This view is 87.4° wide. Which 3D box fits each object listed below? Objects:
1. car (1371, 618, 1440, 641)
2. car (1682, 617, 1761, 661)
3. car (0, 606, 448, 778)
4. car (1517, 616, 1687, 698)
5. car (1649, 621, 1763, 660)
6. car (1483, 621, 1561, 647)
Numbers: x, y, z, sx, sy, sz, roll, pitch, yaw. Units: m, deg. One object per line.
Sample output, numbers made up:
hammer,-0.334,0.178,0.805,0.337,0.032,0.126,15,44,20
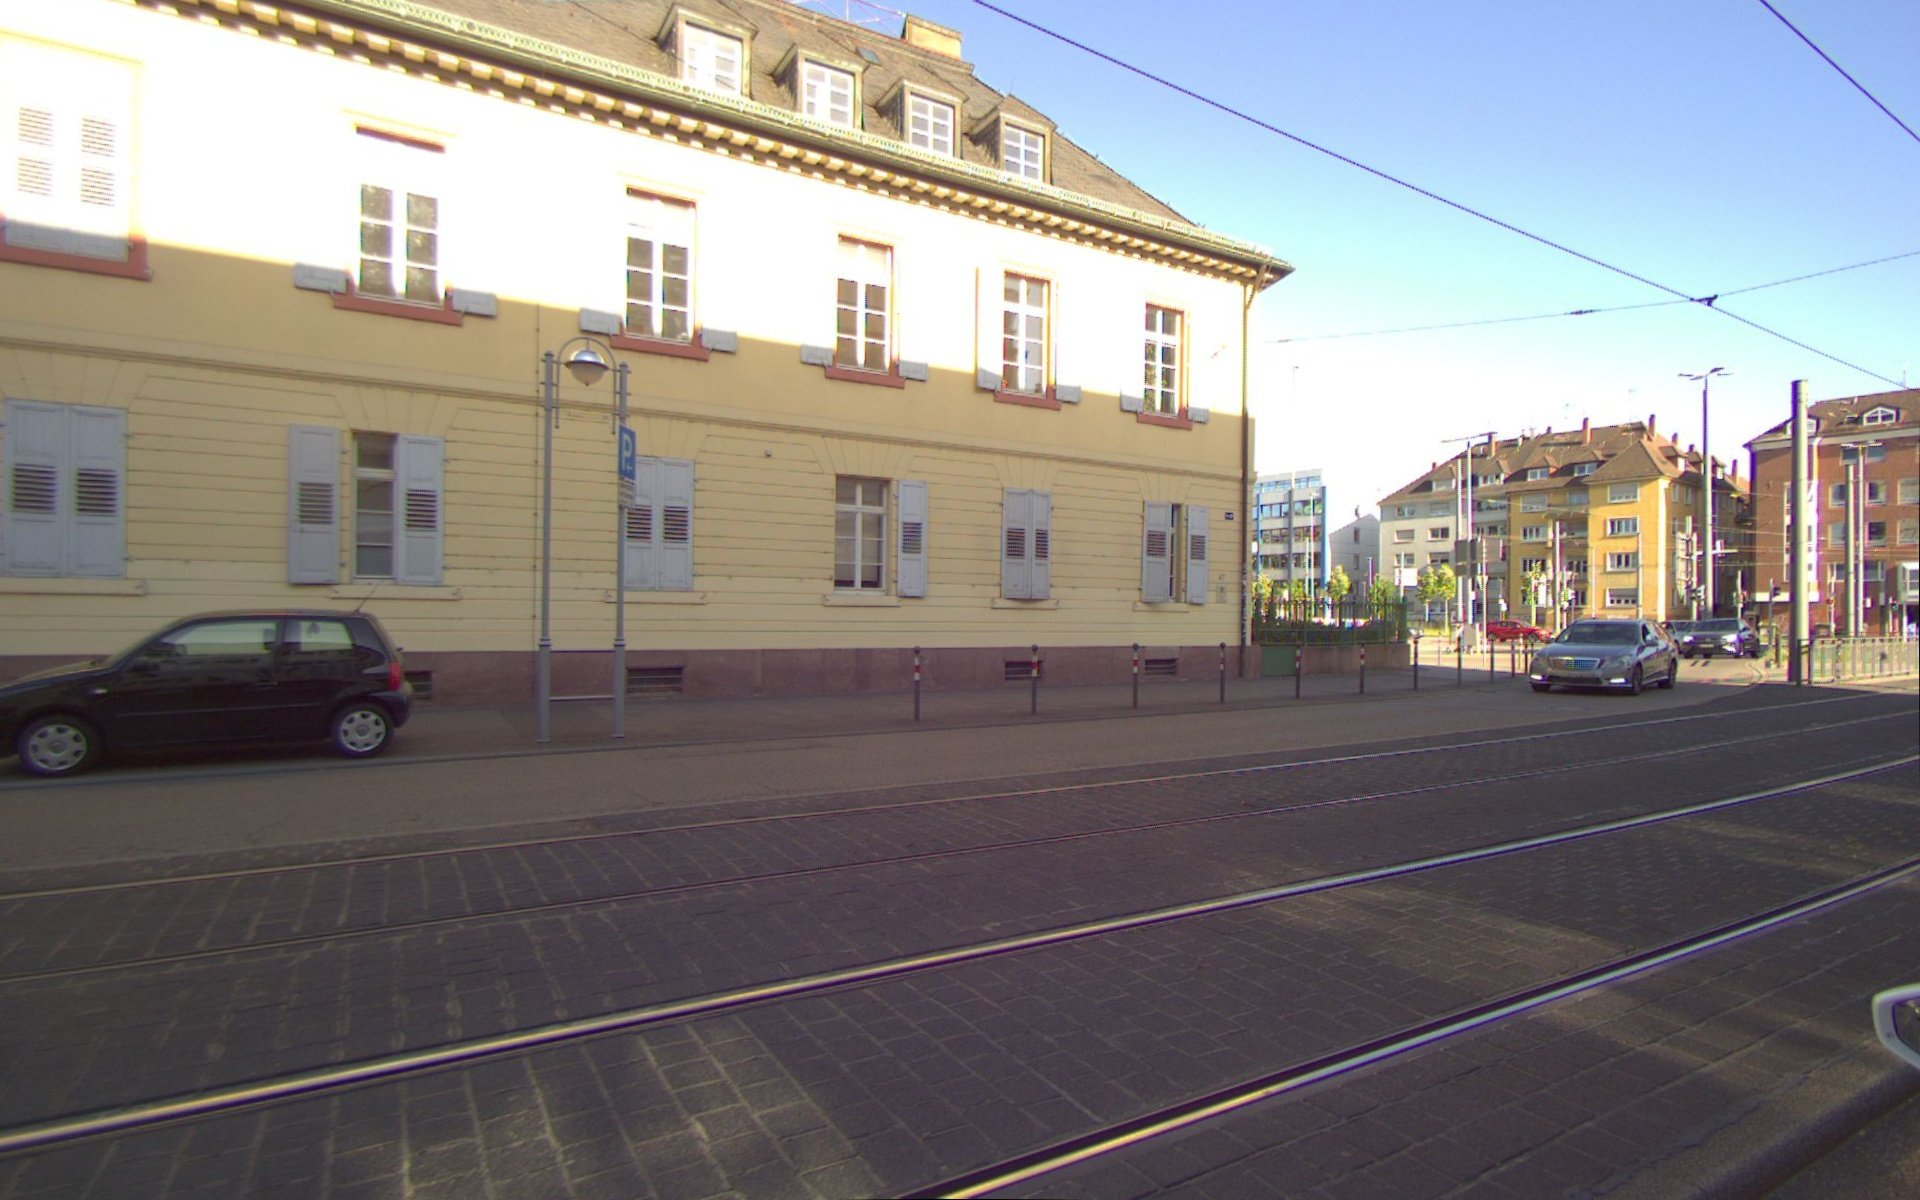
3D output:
car,32.411,2.137,73.143,1.922,1.510,4.112,1,1,-39
car,28.570,1.436,37.640,4.251,1.532,1.747,1,-1,-44
car,-7.298,0.834,10.141,3.678,1.419,1.606,1,1,-31
car,13.461,1.116,20.928,4.895,1.515,1.862,2,-2,-43
car,36.021,1.916,48.673,1.781,1.577,4.603,2,1,-6
car,37.518,2.262,67.138,1.922,1.510,4.112,1,0,-39
